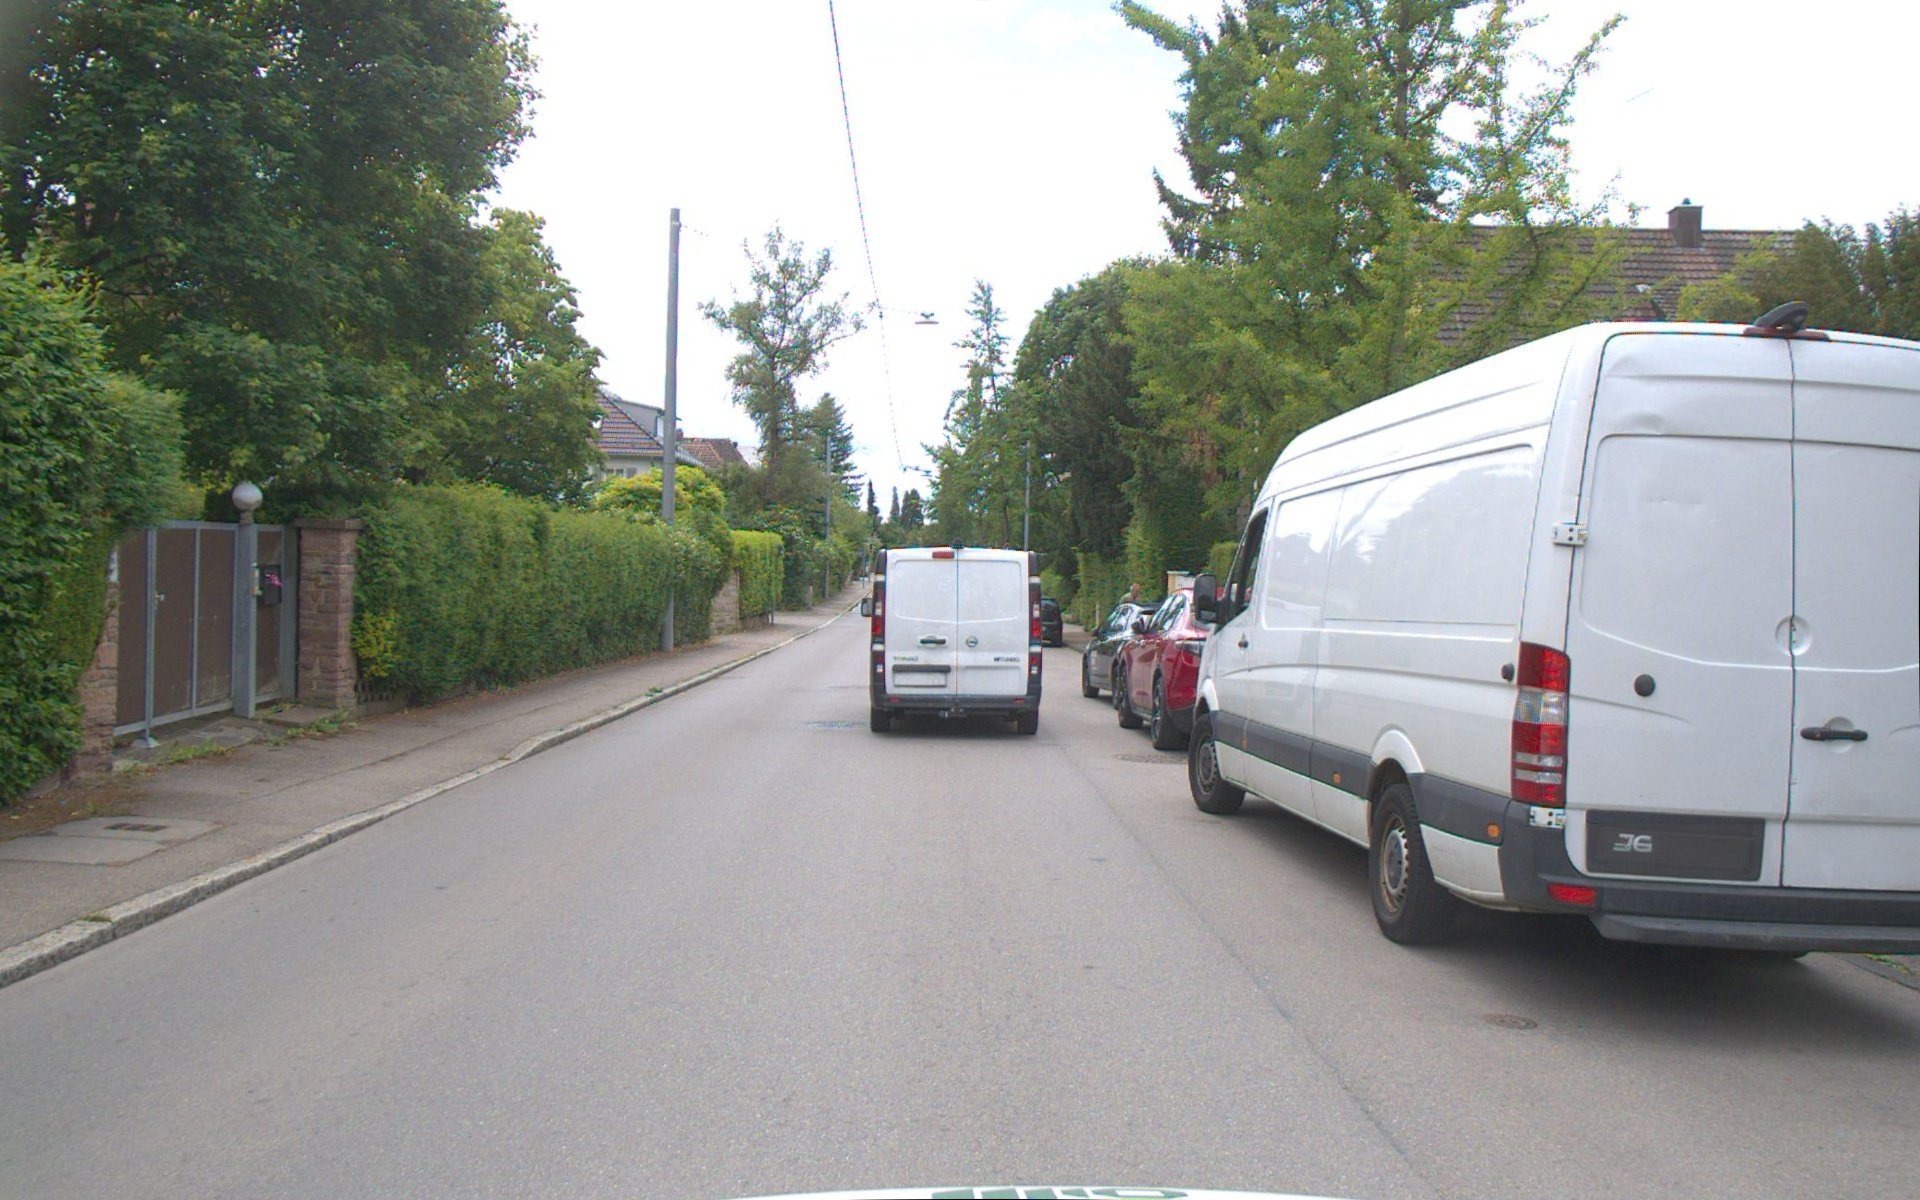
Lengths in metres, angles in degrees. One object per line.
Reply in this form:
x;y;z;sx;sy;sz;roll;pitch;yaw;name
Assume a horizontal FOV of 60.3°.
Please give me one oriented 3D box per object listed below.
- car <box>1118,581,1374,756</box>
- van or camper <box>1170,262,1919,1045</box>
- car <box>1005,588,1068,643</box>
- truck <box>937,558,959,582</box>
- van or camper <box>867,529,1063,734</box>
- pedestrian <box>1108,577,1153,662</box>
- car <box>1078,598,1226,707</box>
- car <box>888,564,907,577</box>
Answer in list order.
2.870;0.612;17.685;1.850;1.609;4.764;0;0;-1;car
2.874;0.185;9.280;2.001;2.665;7.034;3;0;-3;van or camper
2.278;0.447;49.770;1.591;1.498;3.739;2;1;-1;car
-1.360;-3.283;180.022;2.143;2.514;7.429;3;1;-2;truck
-0.031;0.301;19.071;1.900;1.988;4.763;2;0;-2;van or camper
3.502;0.386;34.012;0.658;1.728;0.915;0;0;-13;pedestrian
2.719;0.698;24.232;1.644;1.431;4.053;0;0;-1;car
-6.996;-3.336;185.653;1.768;1.456;4.302;-1;2;1;car
